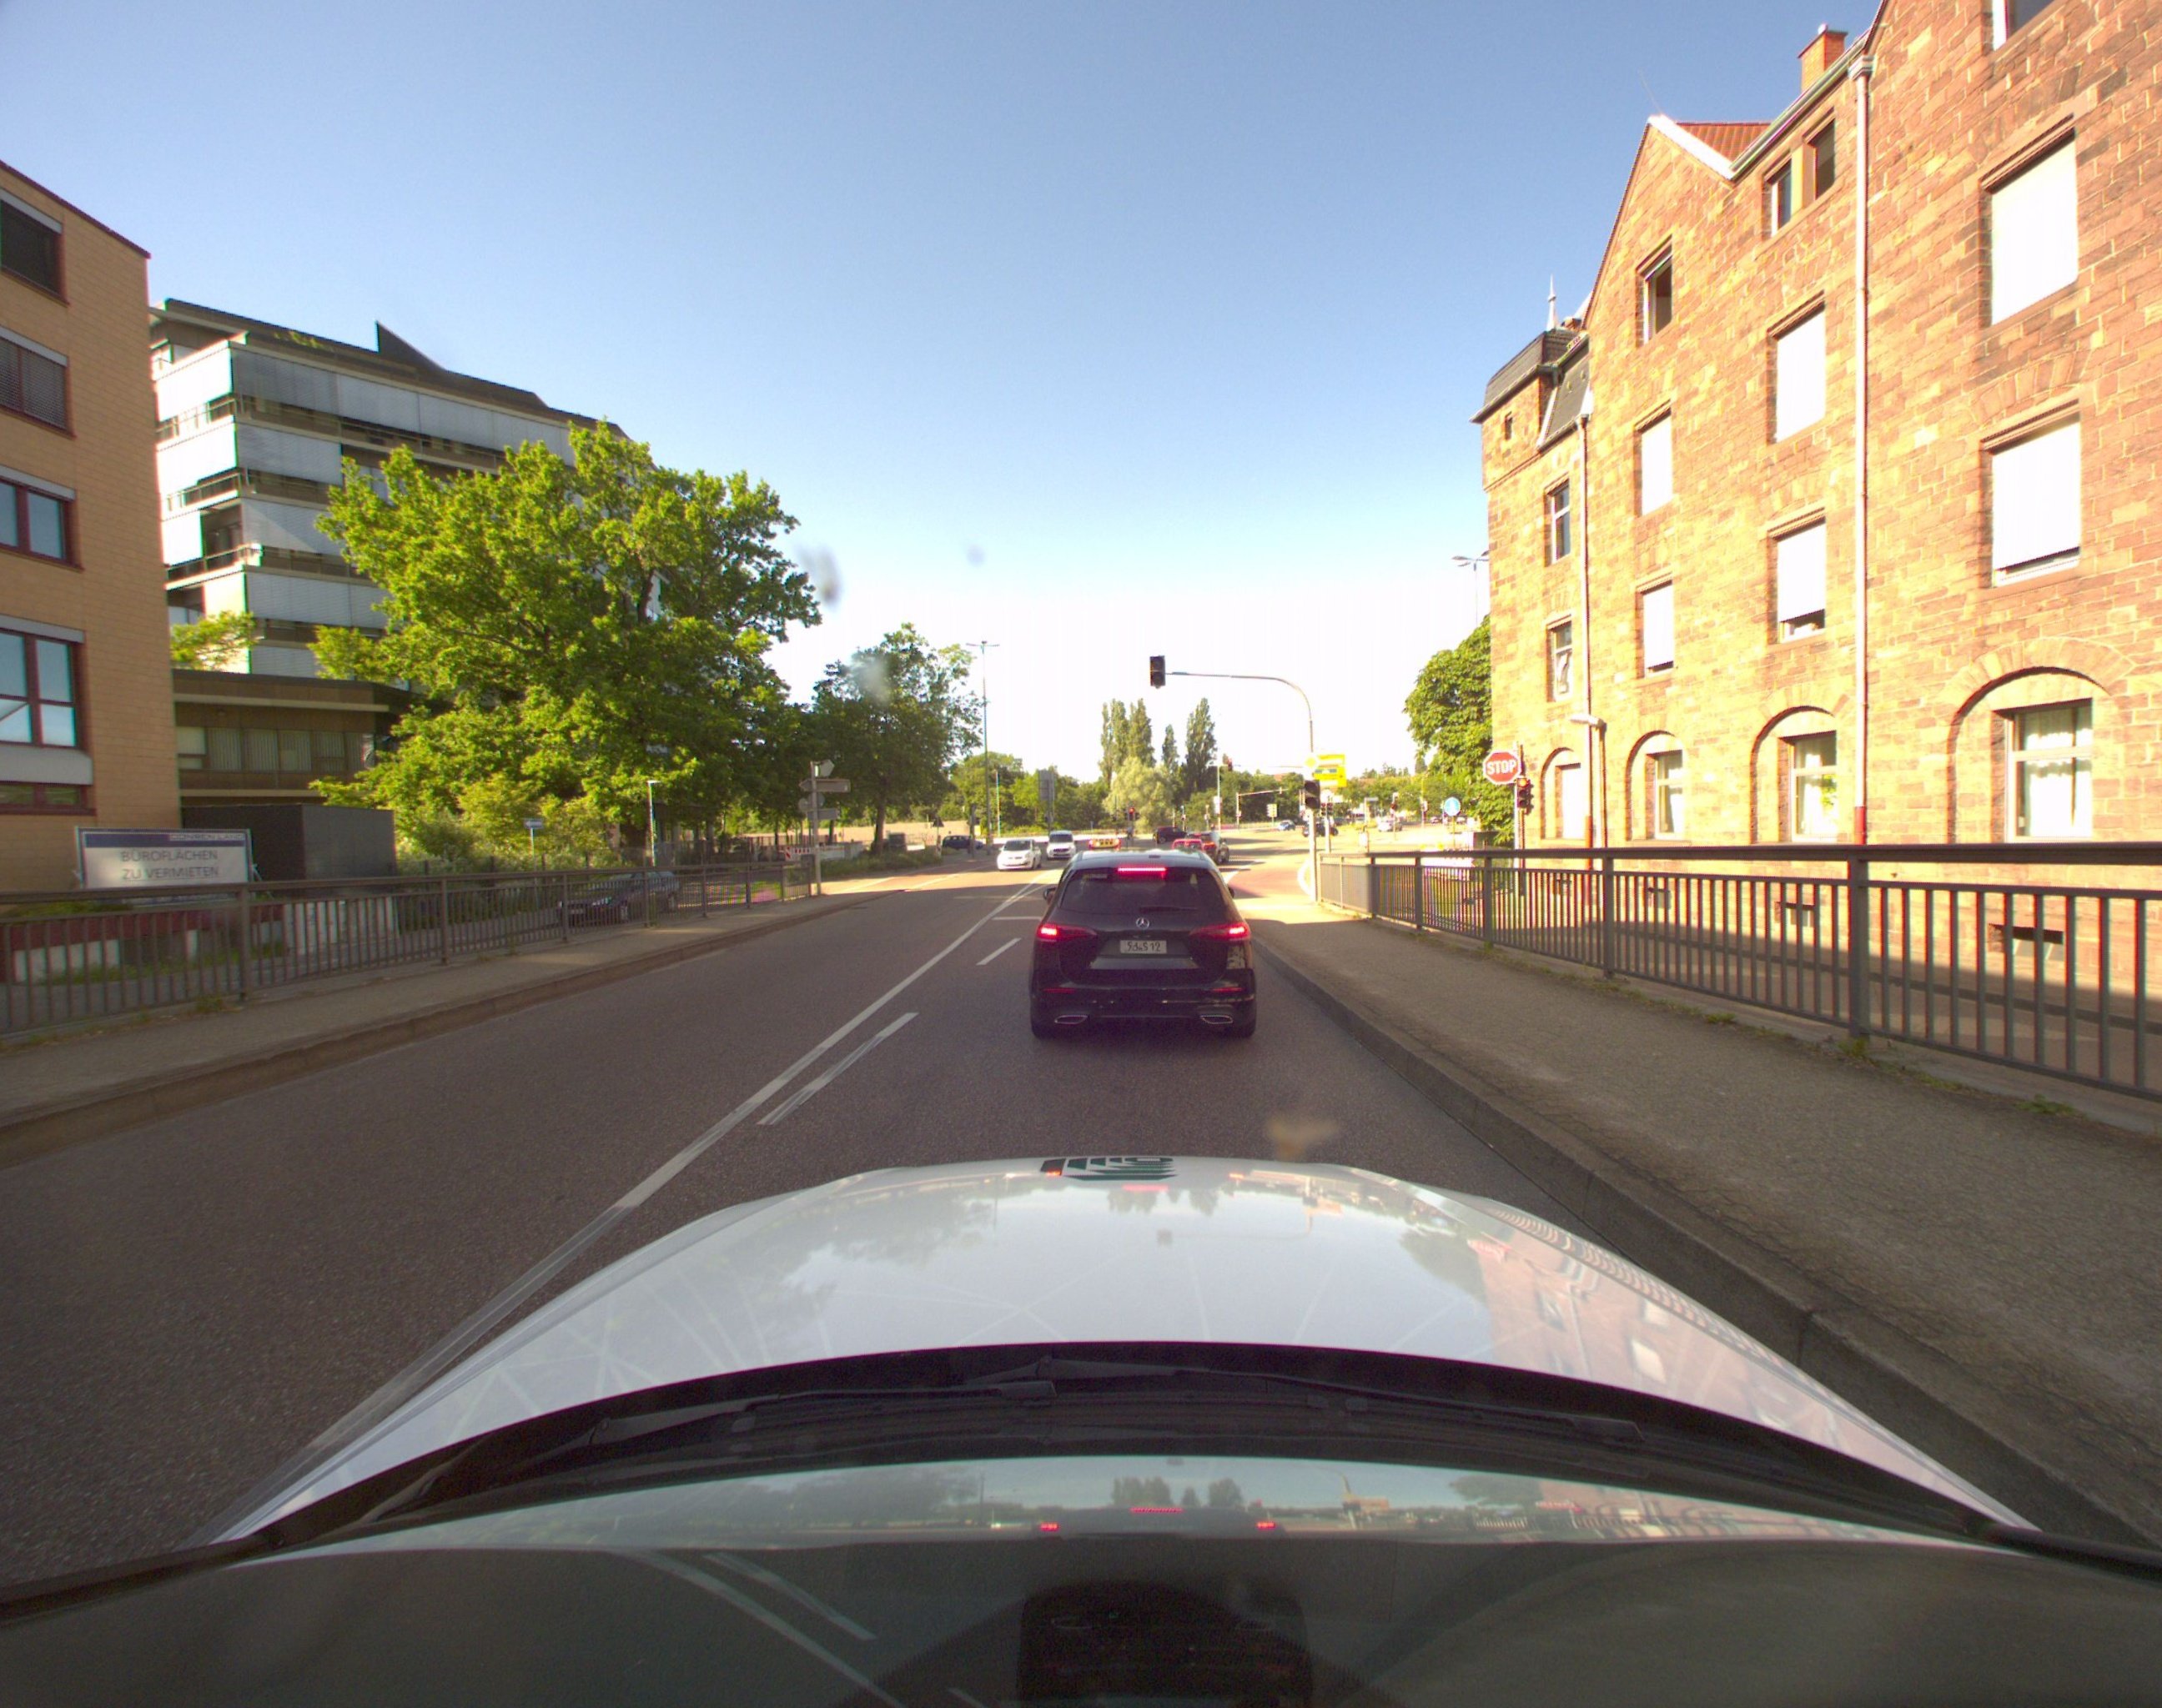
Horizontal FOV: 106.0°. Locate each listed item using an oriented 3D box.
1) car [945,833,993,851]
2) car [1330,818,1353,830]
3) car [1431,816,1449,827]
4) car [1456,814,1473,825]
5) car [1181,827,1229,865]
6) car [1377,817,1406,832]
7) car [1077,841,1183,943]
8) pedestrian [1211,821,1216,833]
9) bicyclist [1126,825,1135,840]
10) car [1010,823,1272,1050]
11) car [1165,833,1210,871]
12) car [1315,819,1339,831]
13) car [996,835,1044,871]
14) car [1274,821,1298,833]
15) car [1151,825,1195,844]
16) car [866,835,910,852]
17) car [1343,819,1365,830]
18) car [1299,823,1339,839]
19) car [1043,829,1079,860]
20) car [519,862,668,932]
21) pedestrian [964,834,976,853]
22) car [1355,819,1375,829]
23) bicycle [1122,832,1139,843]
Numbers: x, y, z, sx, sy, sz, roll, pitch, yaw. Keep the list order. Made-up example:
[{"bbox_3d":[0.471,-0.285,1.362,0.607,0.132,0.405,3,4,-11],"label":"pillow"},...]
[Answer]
[{"bbox_3d":[-11.247,-1.238,81.575,4.357,1.629,1.902,-1,1,24],"label":"car"},{"bbox_3d":[37.559,-4.270,117.326,1.860,1.578,4.026,-1,2,37],"label":"car"},{"bbox_3d":[57.821,-5.187,130.995,1.866,1.547,4.025,-1,-1,35],"label":"car"},{"bbox_3d":[59.112,-5.326,125.581,1.722,1.498,4.026,-2,0,35],"label":"car"},{"bbox_3d":[6.589,-0.451,42.926,1.707,1.811,4.319,-2,2,19],"label":"car"},{"bbox_3d":[36.318,-3.472,95.222,1.867,1.629,4.025,-1,2,42],"label":"car"},{"bbox_3d":[0.888,0.581,14.712,1.633,1.529,3.478,-3,1,3],"label":"car"},{"bbox_3d":[19.082,-3.895,117.574,0.446,1.585,0.505,-2,1,42],"label":"pedestrian"},{"bbox_3d":[5.299,-2.294,87.334,0.811,1.551,0.521,-4,1,-37],"label":"bicyclist"},{"bbox_3d":[0.480,0.571,7.856,1.871,1.613,4.001,-1,1,1],"label":"car"},{"bbox_3d":[4.910,-0.108,37.280,1.710,1.521,3.499,-1,3,12],"label":"car"},{"bbox_3d":[33.909,-4.007,112.220,1.860,1.578,4.026,-1,2,37],"label":"car"},{"bbox_3d":[-3.036,-0.097,41.200,1.770,1.635,4.005,-3,1,4],"label":"car"},{"bbox_3d":[29.651,-3.933,117.699,1.860,1.578,4.026,-1,2,37],"label":"car"},{"bbox_3d":[8.932,-1.910,79.239,3.979,1.629,1.888,-2,1,-4],"label":"car"},{"bbox_3d":[-20.495,-1.108,86.392,4.354,1.629,1.903,-1,1,31],"label":"car"},{"bbox_3d":[41.409,-4.496,123.404,1.860,1.578,4.026,-1,2,37],"label":"car"},{"bbox_3d":[24.884,-2.411,85.084,4.018,1.629,1.870,-3,1,-36],"label":"car"},{"bbox_3d":[-1.353,-0.649,52.006,1.915,1.794,4.890,-3,2,-5],"label":"car"},{"bbox_3d":[-14.286,1.184,24.172,1.845,1.692,4.002,-2,2,1],"label":"car"},{"bbox_3d":[-9.033,-0.889,66.104,0.700,1.525,0.746,-1,1,12],"label":"pedestrian"},{"bbox_3d":[45.980,-4.878,131.802,1.860,1.578,4.026,-1,2,37],"label":"car"},{"bbox_3d":[5.313,-1.802,87.355,1.999,1.050,0.521,-4,1,-37],"label":"bicycle"}]
